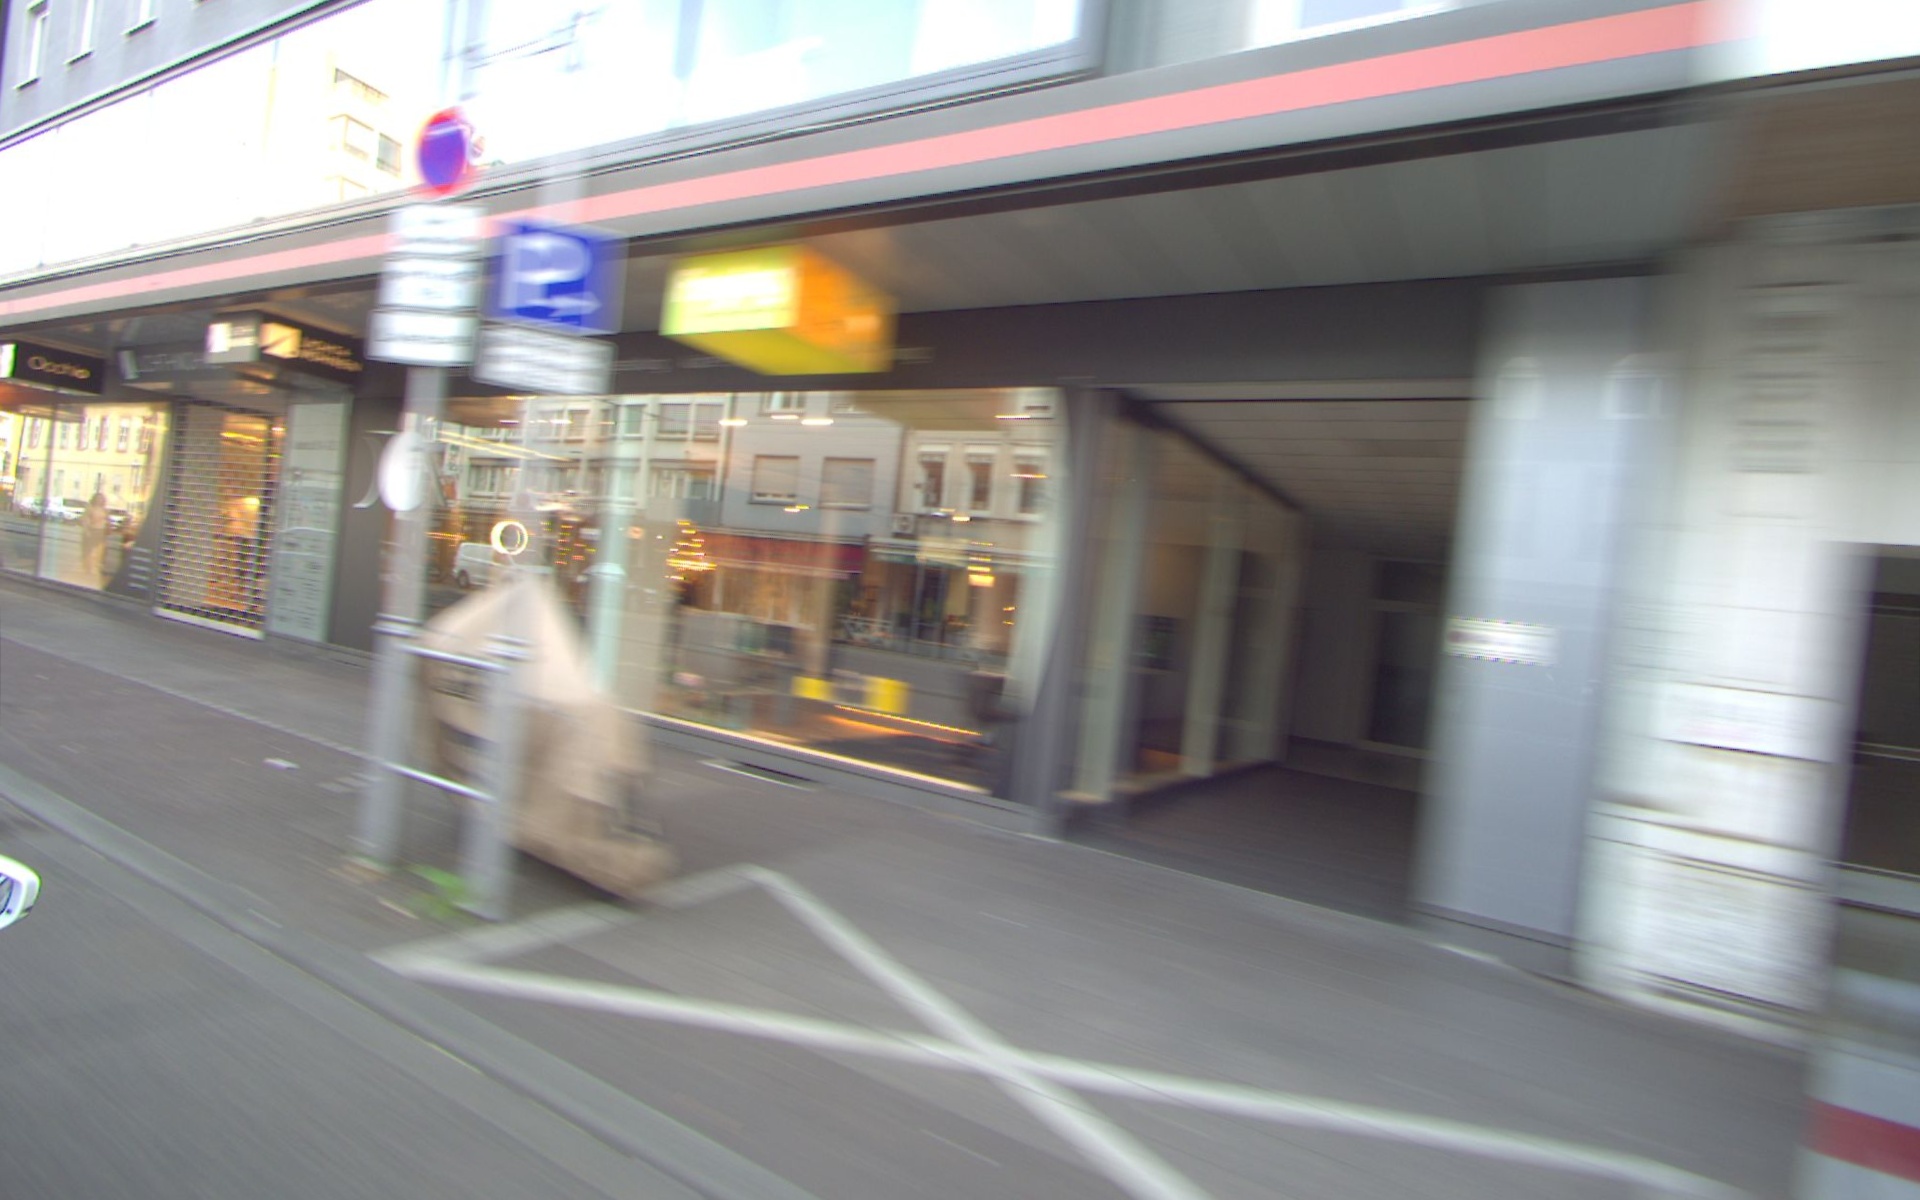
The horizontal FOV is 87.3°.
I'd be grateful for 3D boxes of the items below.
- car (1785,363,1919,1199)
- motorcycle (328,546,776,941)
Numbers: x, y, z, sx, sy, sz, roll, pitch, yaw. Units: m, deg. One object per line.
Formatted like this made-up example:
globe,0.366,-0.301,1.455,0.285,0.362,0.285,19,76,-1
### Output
car,4.450,0.808,0.835,5.318,2.487,2.035,7,2,30
motorcycle,-2.034,0.557,4.886,2.129,1.438,0.844,6,2,32
